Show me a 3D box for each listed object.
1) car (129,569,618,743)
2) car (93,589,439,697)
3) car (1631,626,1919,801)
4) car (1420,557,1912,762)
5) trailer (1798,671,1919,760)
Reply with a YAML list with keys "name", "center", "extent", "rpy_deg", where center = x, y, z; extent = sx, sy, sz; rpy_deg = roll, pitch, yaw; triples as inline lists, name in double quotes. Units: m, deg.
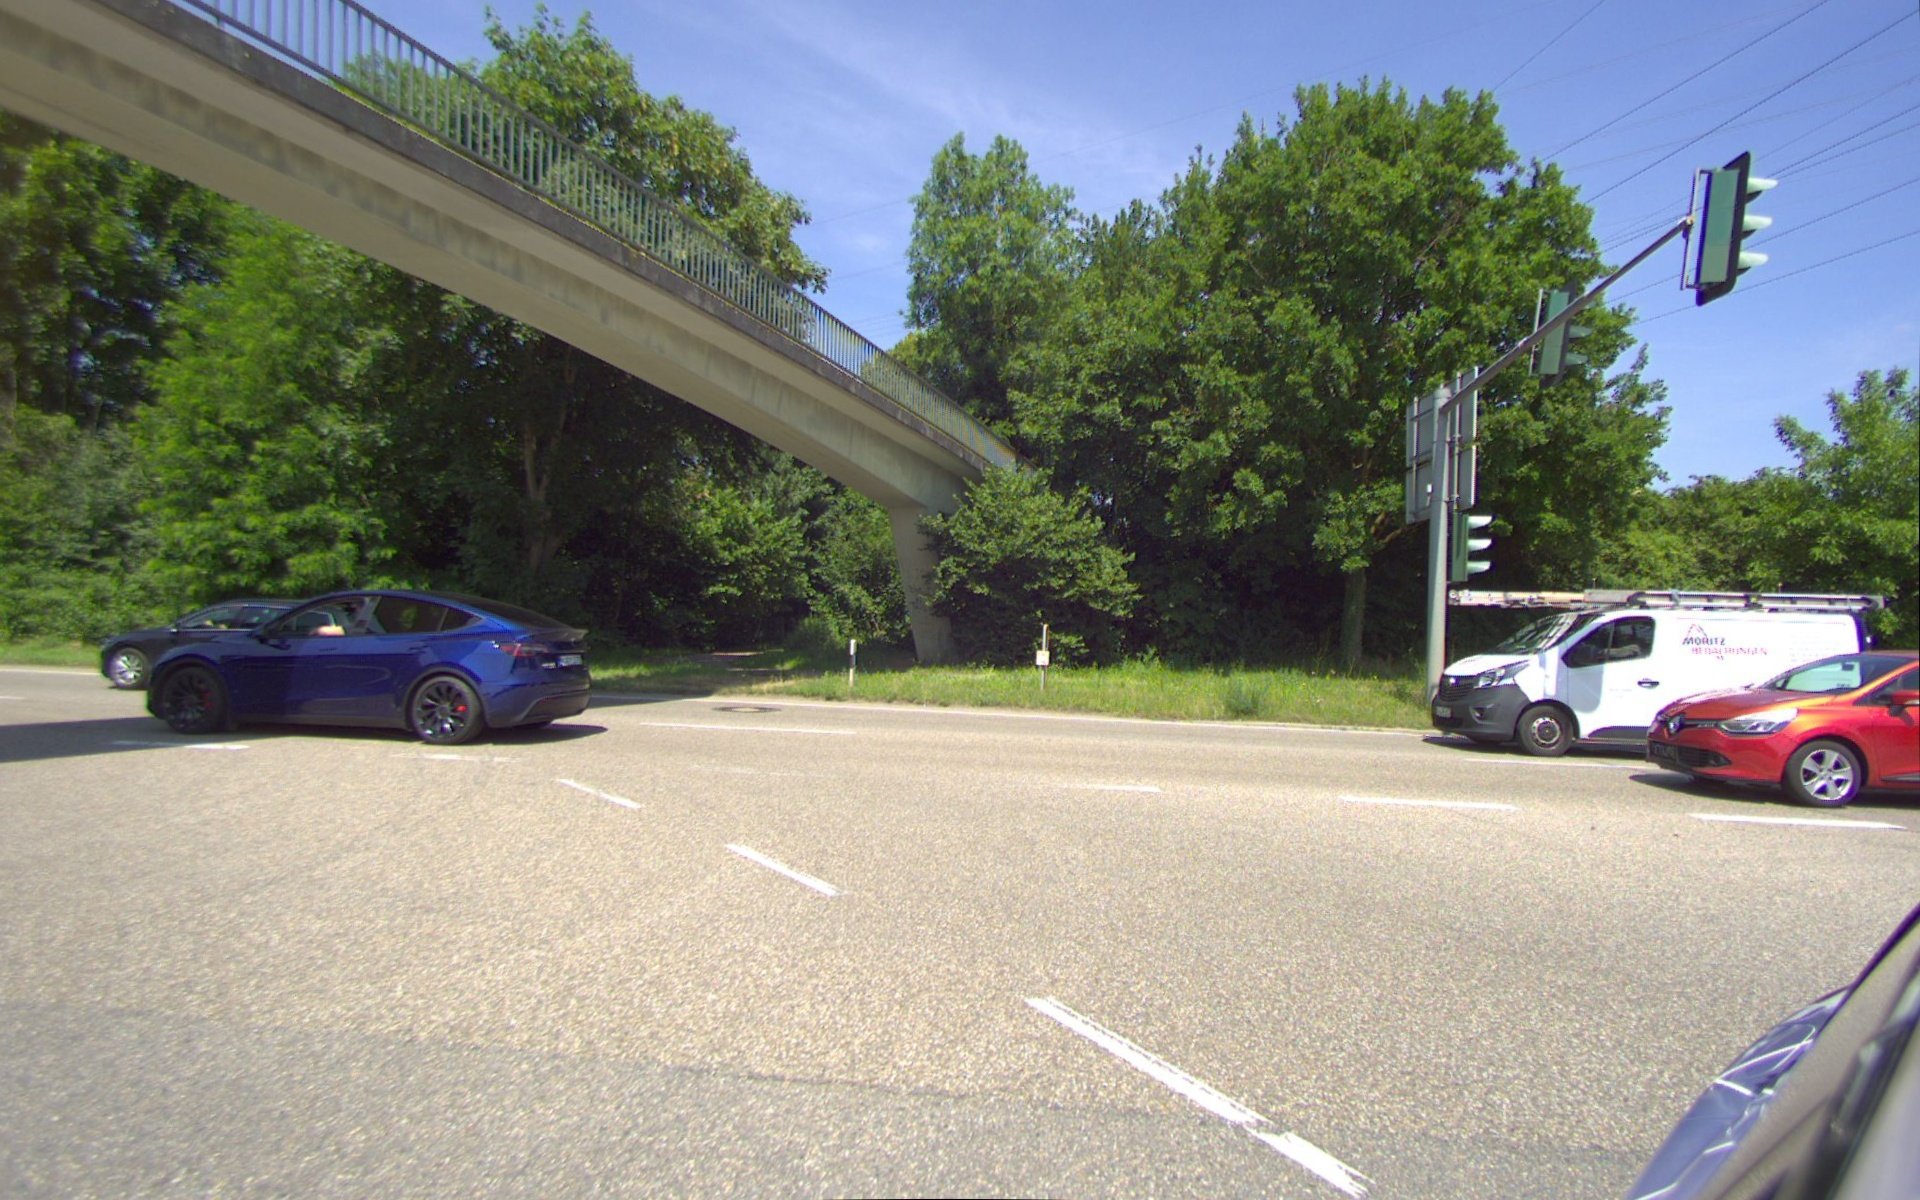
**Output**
- name: "car"
  center: [-6.410, 0.598, 11.386]
  extent: [4.441, 1.666, 1.903]
  rpy_deg: [1, -3, 6]
- name: "car"
  center: [-10.897, 0.669, 16.074]
  extent: [4.305, 1.497, 1.902]
  rpy_deg: [1, -3, 7]
- name: "car"
  center: [9.013, 1.054, 9.626]
  extent: [3.993, 1.481, 1.745]
  rpy_deg: [1, -3, 5]
- name: "car"
  center: [9.051, 0.738, 13.426]
  extent: [4.987, 2.380, 1.935]
  rpy_deg: [1, -3, 6]
- name: "trailer"
  center: [13.139, 1.497, 12.957]
  extent: [3.266, 1.019, 1.708]
  rpy_deg: [1, -2, 6]
